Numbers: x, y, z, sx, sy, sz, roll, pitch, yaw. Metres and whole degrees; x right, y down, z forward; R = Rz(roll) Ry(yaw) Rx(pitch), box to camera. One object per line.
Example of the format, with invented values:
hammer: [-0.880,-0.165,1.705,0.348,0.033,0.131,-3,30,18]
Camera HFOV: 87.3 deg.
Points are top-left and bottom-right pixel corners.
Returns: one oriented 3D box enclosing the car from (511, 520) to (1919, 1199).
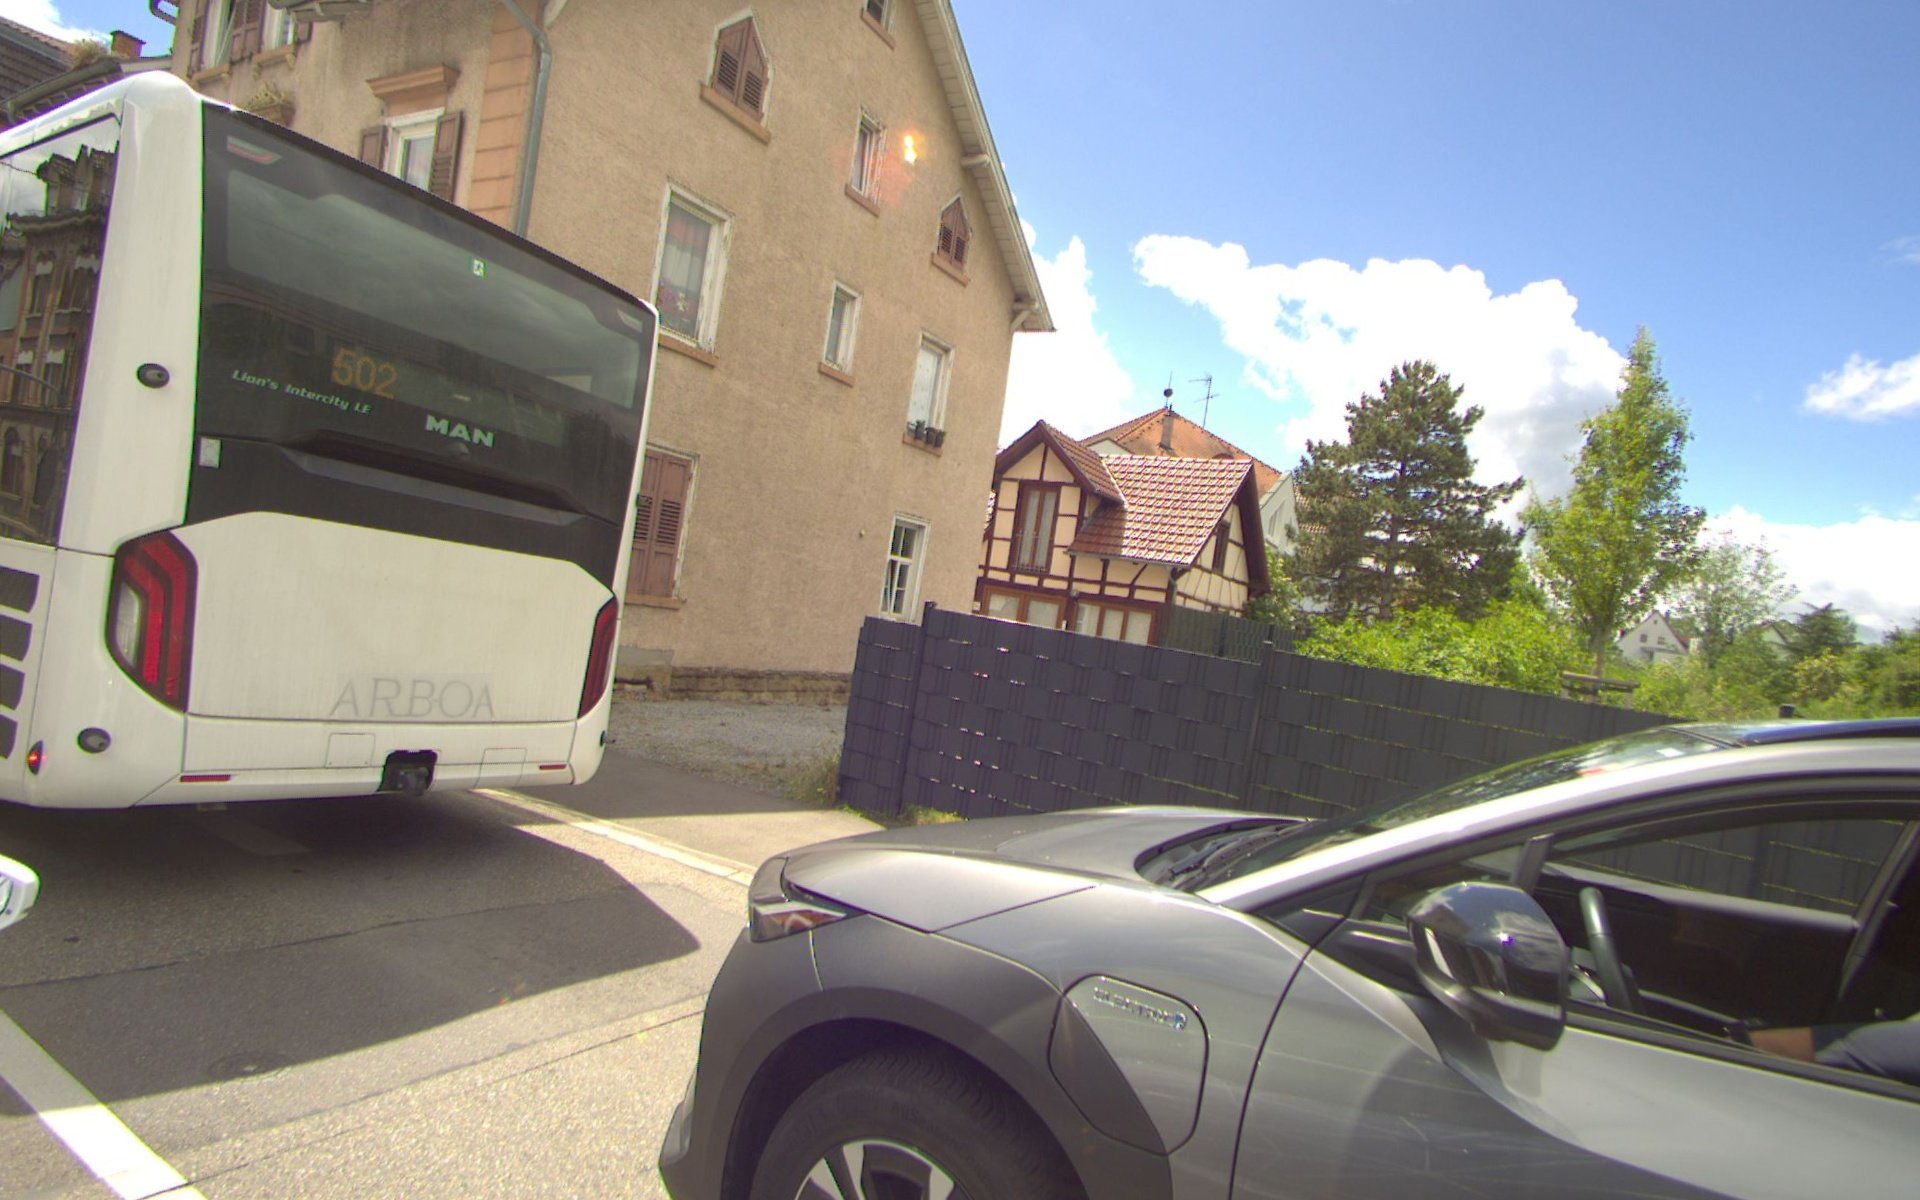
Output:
car: [1.512,0.954,1.894,4.504,1.648,1.997,7,-1,31]

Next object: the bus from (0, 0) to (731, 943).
bus: [-7.467,-1.040,7.795,12.281,3.551,2.910,6,-2,32]
